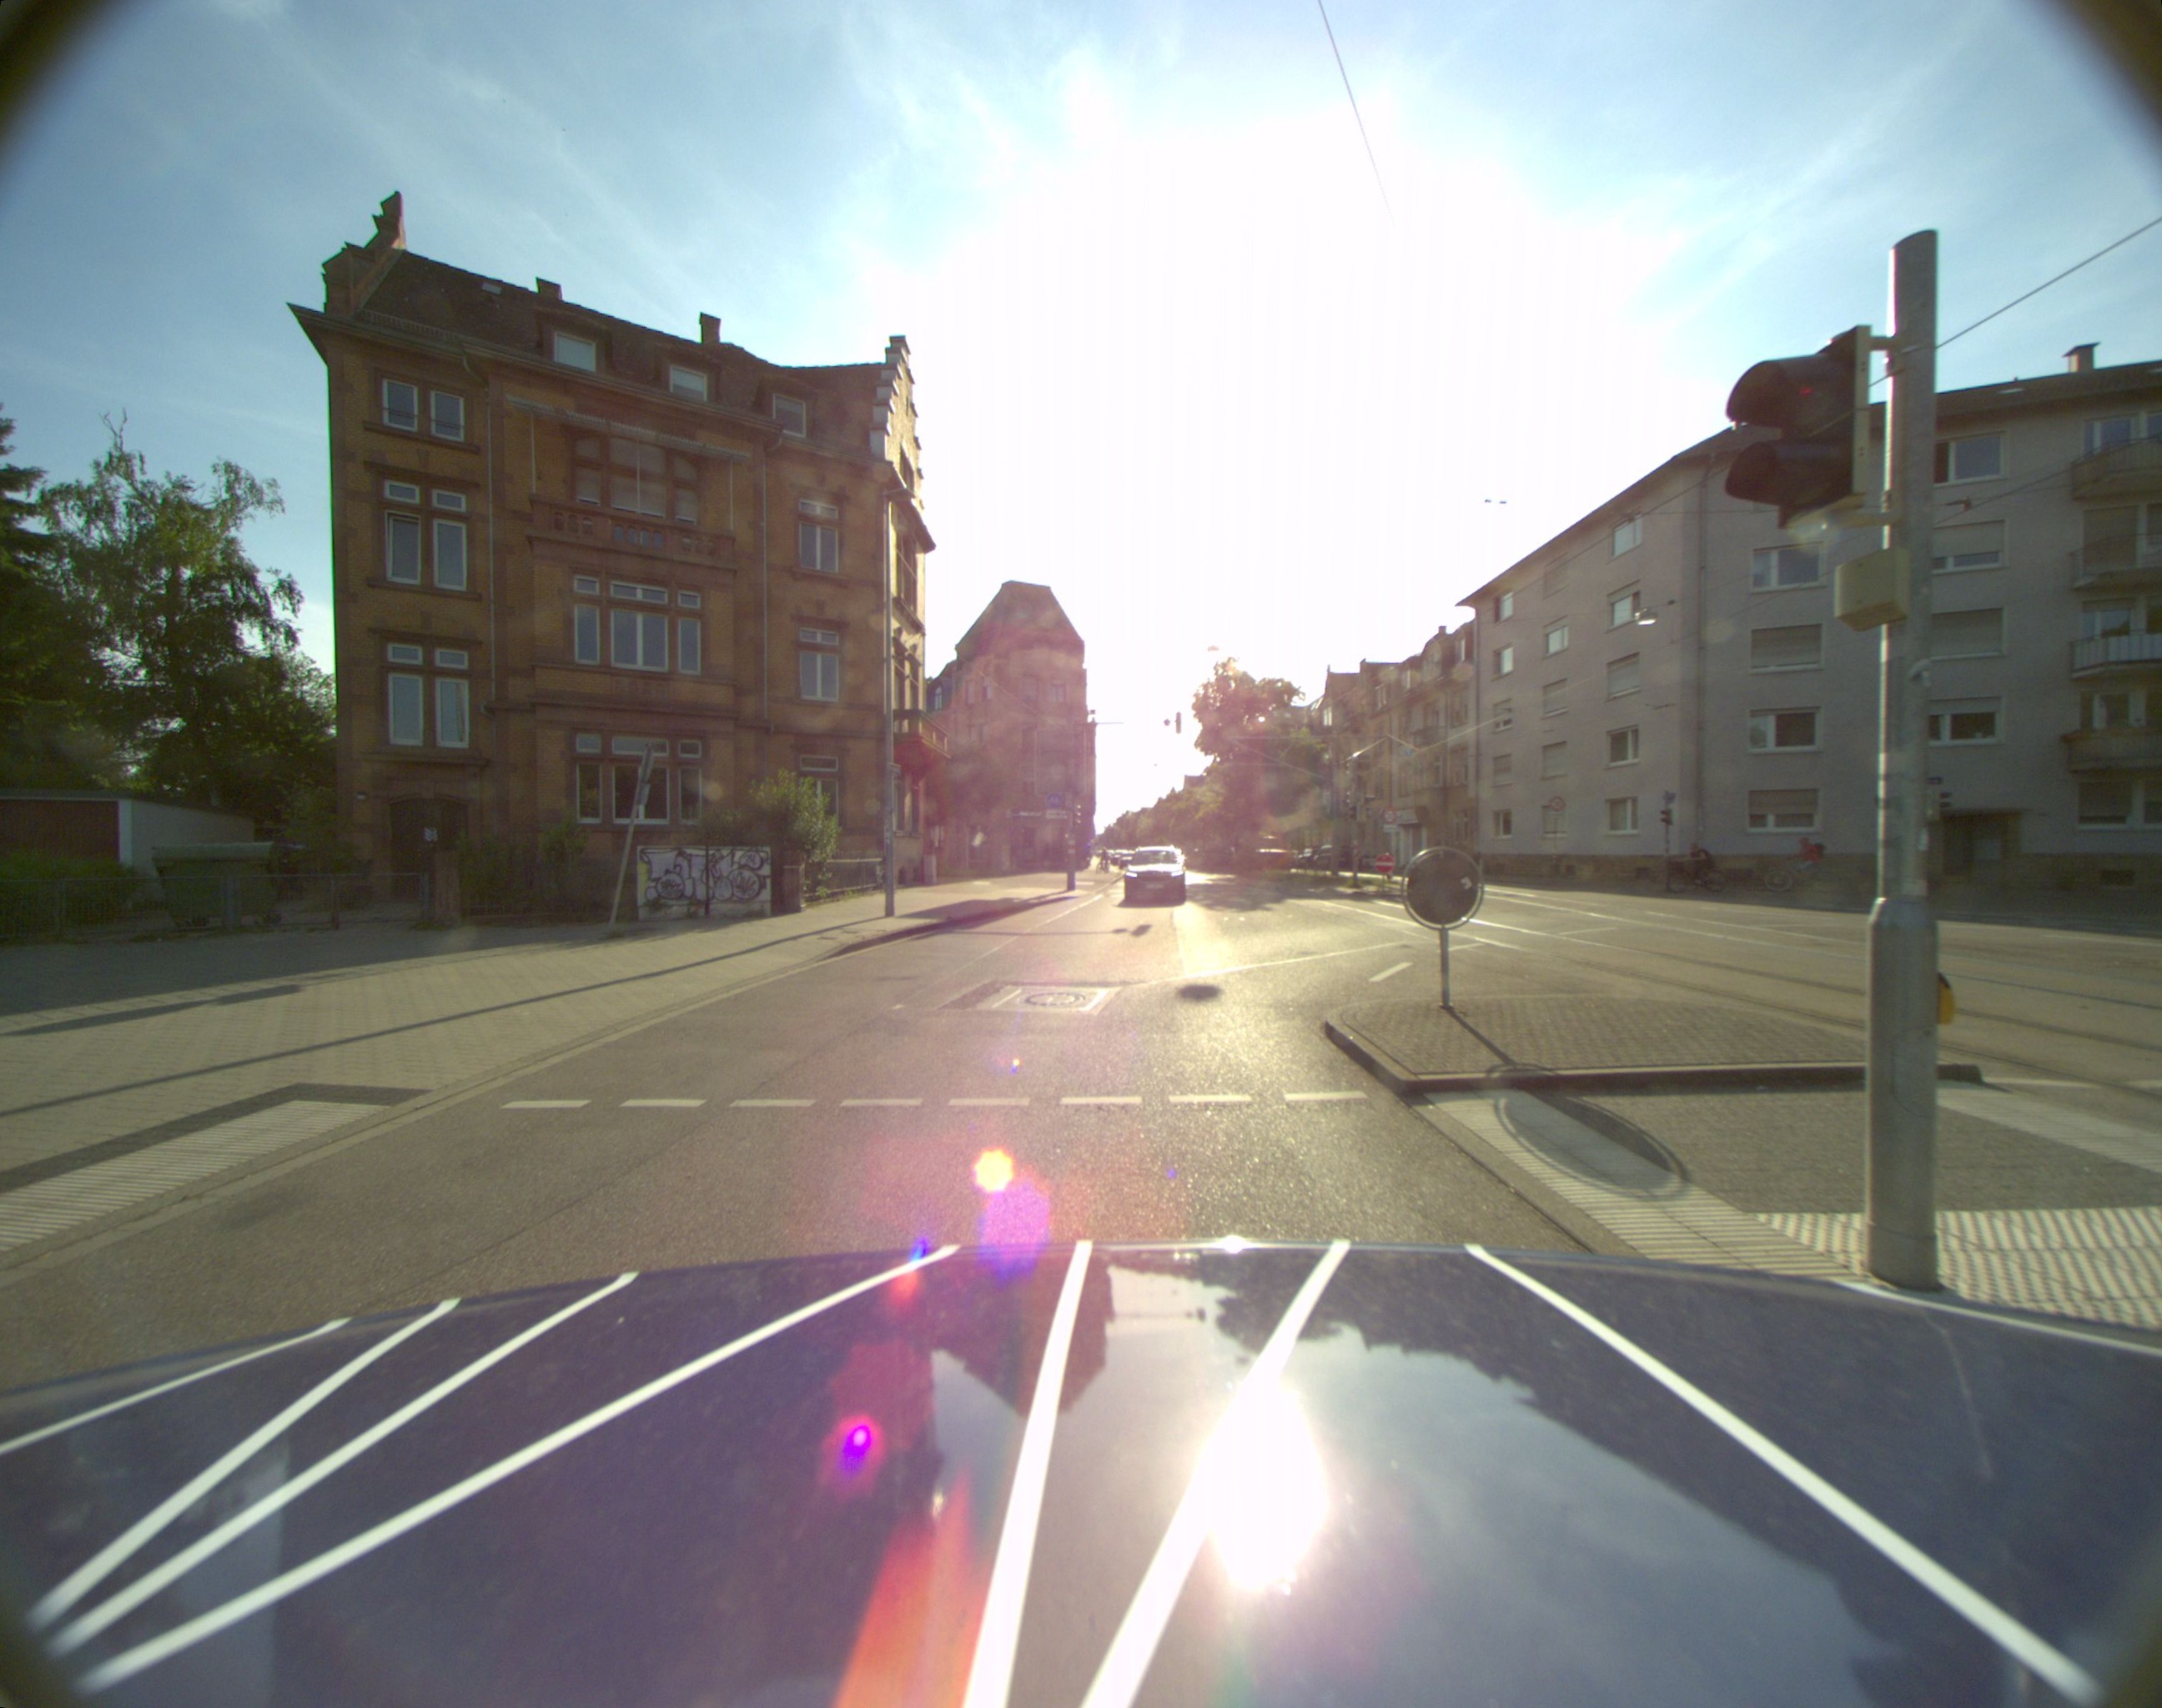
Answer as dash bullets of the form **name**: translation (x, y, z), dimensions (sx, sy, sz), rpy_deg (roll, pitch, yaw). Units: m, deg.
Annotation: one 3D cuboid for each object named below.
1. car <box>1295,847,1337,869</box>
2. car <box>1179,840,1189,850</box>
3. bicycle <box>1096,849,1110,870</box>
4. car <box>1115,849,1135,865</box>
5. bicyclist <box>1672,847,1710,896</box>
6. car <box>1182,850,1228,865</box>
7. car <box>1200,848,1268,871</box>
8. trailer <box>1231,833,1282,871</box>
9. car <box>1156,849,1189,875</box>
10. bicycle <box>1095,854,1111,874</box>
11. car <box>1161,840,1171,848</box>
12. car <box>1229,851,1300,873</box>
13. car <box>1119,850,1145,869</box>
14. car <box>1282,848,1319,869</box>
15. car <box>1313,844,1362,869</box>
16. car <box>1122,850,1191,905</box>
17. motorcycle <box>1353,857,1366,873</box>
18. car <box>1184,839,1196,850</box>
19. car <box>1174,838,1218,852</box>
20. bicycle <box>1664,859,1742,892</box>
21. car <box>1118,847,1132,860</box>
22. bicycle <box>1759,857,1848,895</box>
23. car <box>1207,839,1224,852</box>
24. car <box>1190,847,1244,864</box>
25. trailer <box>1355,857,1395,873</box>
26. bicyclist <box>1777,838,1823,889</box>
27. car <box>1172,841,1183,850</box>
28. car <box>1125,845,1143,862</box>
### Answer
- **car**: translation (19.271, 0.331, 62.530), dimensions (2.170, 1.740, 4.611), rpy_deg (-1, 0, 3)
- **car**: translation (22.328, -1.983, 164.673), dimensions (1.998, 2.002, 4.001), rpy_deg (-1, 0, 4)
- **bicycle**: translation (1.370, 0.344, 47.182), dimensions (0.574, 1.290, 0.689), rpy_deg (-1, 1, 24)
- **car**: translation (4.840, 0.325, 83.958), dimensions (1.998, 1.772, 3.999), rpy_deg (0, 1, 0)
- **bicyclist**: translation (20.762, 0.572, 25.877), dimensions (0.772, 1.633, 0.796), rpy_deg (0, 1, 21)
- **car**: translation (12.288, 0.372, 75.387), dimensions (4.259, 1.414, 1.685), rpy_deg (-1, 0, 42)
- **car**: translation (11.718, 0.403, 58.307), dimensions (4.704, 1.680, 2.177), rpy_deg (0, 1, 43)
- **trailer**: translation (11.621, -0.119, 50.320), dimensions (2.858, 2.378, 1.726), rpy_deg (-1, 0, 33)
- **car**: translation (5.840, 0.513, 48.769), dimensions (1.998, 1.565, 4.002), rpy_deg (-1, 0, 6)
- **bicycle**: translation (1.399, 0.612, 47.220), dimensions (0.483, 1.183, 1.341), rpy_deg (-1, 0, 25)
- **car**: translation (22.278, -2.482, 198.830), dimensions (1.998, 2.002, 4.000), rpy_deg (-1, 0, 0)
- **car**: translation (11.337, 0.471, 47.120), dimensions (3.941, 1.352, 1.676), rpy_deg (0, 1, 37)
- **car**: translation (4.294, 0.474, 64.606), dimensions (1.840, 1.494, 4.266), rpy_deg (-1, 0, 0)
- **car**: translation (19.501, 0.369, 67.656), dimensions (2.170, 1.740, 4.611), rpy_deg (-1, 0, 3)
- **car**: translation (18.779, 0.196, 55.851), dimensions (2.170, 1.740, 4.719), rpy_deg (-1, 0, 3)
- **car**: translation (2.160, 0.635, 22.571), dimensions (1.839, 1.472, 4.001), rpy_deg (0, 0, 3)
- **motorcycle**: translation (19.029, 0.750, 51.916), dimensions (0.636, 1.074, 1.737), rpy_deg (-1, 0, 25)
- **car**: translation (22.011, -1.907, 153.439), dimensions (1.998, 2.002, 4.001), rpy_deg (-1, 0, 4)
- **car**: translation (12.458, -0.963, 82.520), dimensions (4.259, 1.414, 2.176), rpy_deg (-1, 0, 42)
- **bicycle**: translation (21.064, 0.724, 25.784), dimensions (1.912, 1.104, 0.736), rpy_deg (-1, -1, 22)
- **car**: translation (6.673, -0.040, 116.680), dimensions (1.998, 2.002, 4.000), rpy_deg (0, 1, 1)
- **bicycle**: translation (23.695, 0.719, 24.964), dimensions (1.976, 1.196, 0.736), rpy_deg (-1, 0, 22)
- **car**: translation (21.639, -1.338, 122.463), dimensions (1.998, 2.002, 4.000), rpy_deg (-1, 0, 1)
- **car**: translation (12.191, 0.162, 68.259), dimensions (4.294, 1.414, 1.963), rpy_deg (-1, 0, 42)
- **trailer**: translation (19.099, 0.713, 49.477), dimensions (1.444, 0.891, 2.879), rpy_deg (-6, 0, 1)
- **bicyclist**: translation (23.596, 0.301, 24.960), dimensions (0.851, 1.633, 0.815), rpy_deg (-1, 1, 21)
- **car**: translation (22.442, -2.046, 177.247), dimensions (1.998, 2.002, 4.000), rpy_deg (-1, 0, 0)
- **car**: translation (6.334, -0.039, 91.003), dimensions (1.998, 2.002, 4.000), rpy_deg (0, 1, 1)
